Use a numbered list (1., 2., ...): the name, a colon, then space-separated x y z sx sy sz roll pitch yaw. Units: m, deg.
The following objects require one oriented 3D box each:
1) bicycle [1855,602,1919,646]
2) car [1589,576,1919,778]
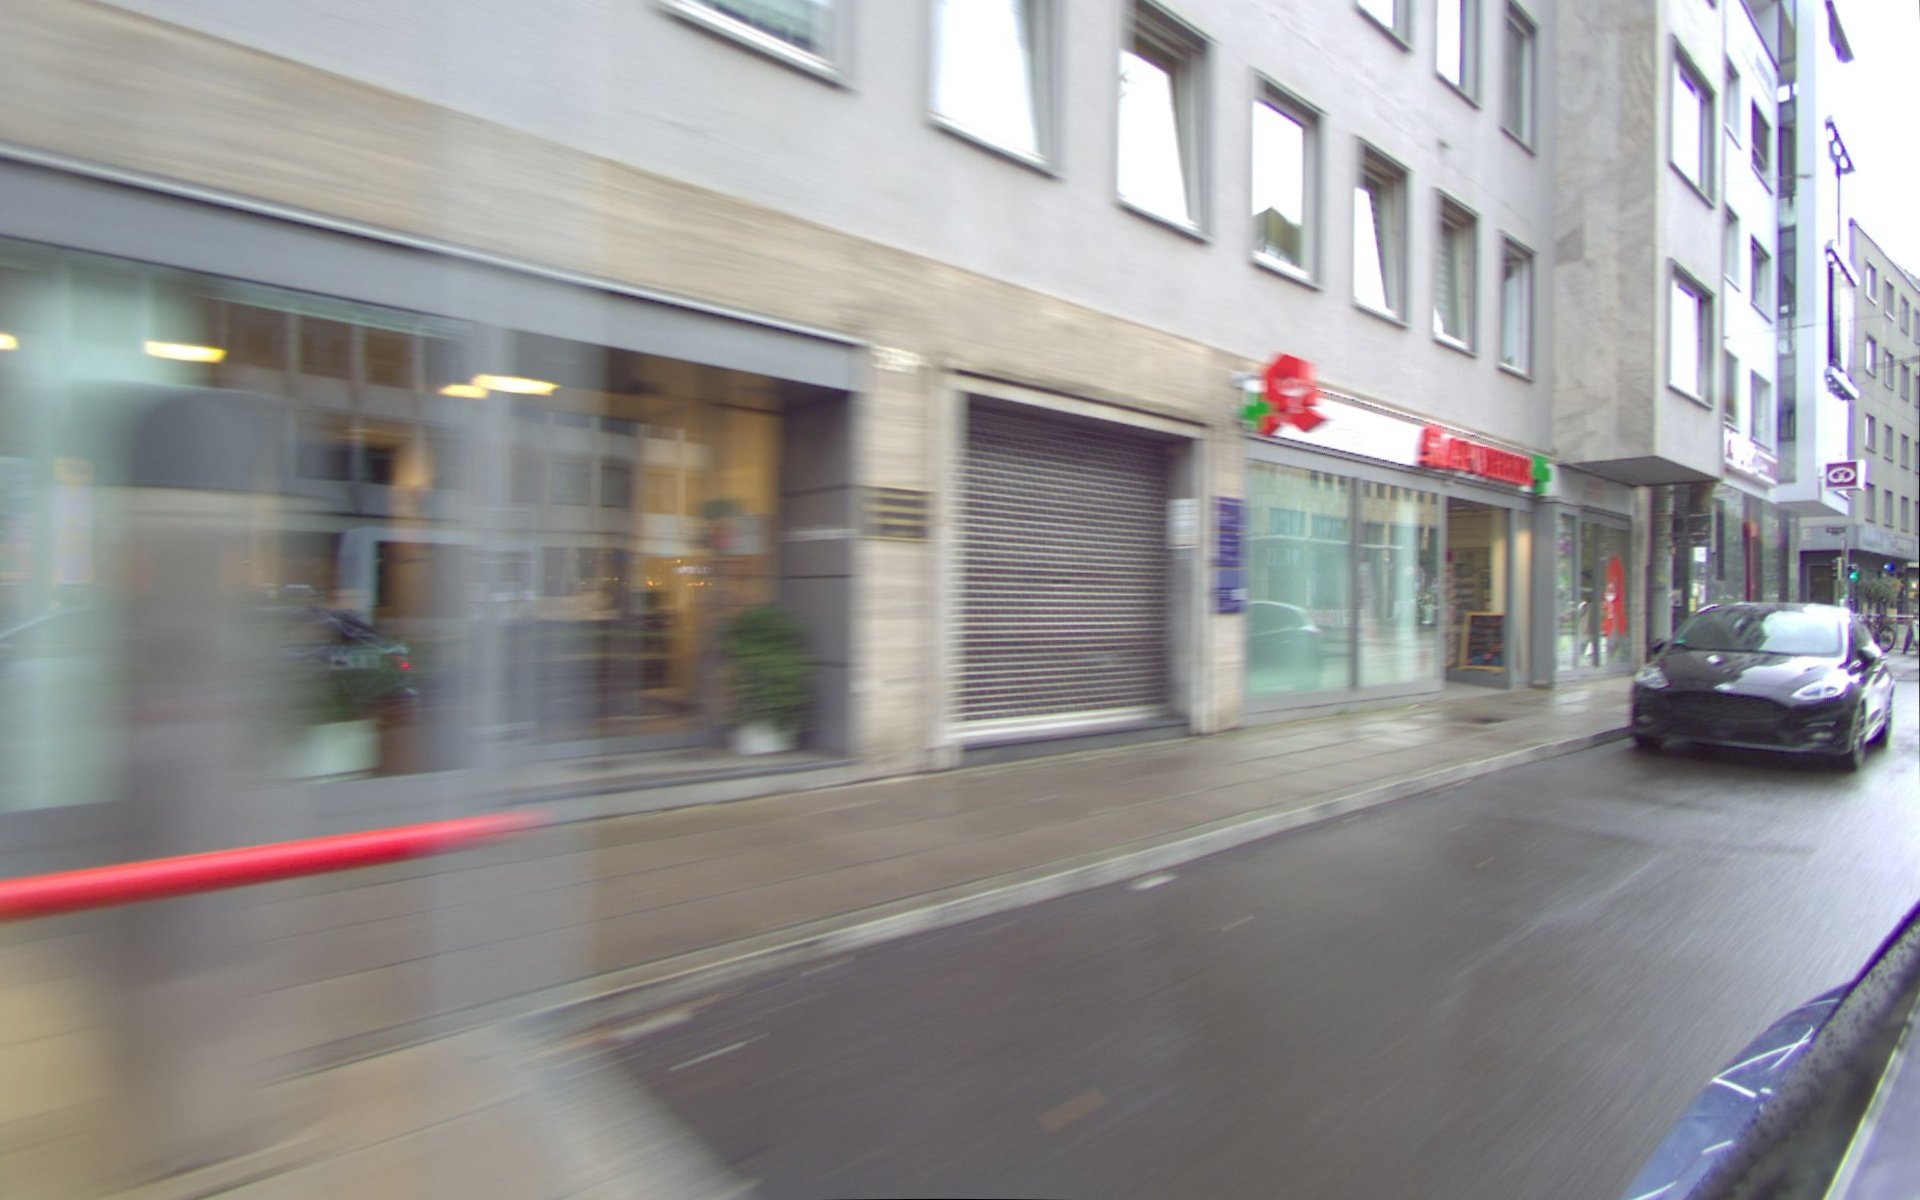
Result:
1. bicycle: 26.277 0.659 28.602 0.569 1.172 1.949 -1 0 12
2. car: 8.230 0.565 10.262 4.197 1.613 1.997 -1 2 -41
